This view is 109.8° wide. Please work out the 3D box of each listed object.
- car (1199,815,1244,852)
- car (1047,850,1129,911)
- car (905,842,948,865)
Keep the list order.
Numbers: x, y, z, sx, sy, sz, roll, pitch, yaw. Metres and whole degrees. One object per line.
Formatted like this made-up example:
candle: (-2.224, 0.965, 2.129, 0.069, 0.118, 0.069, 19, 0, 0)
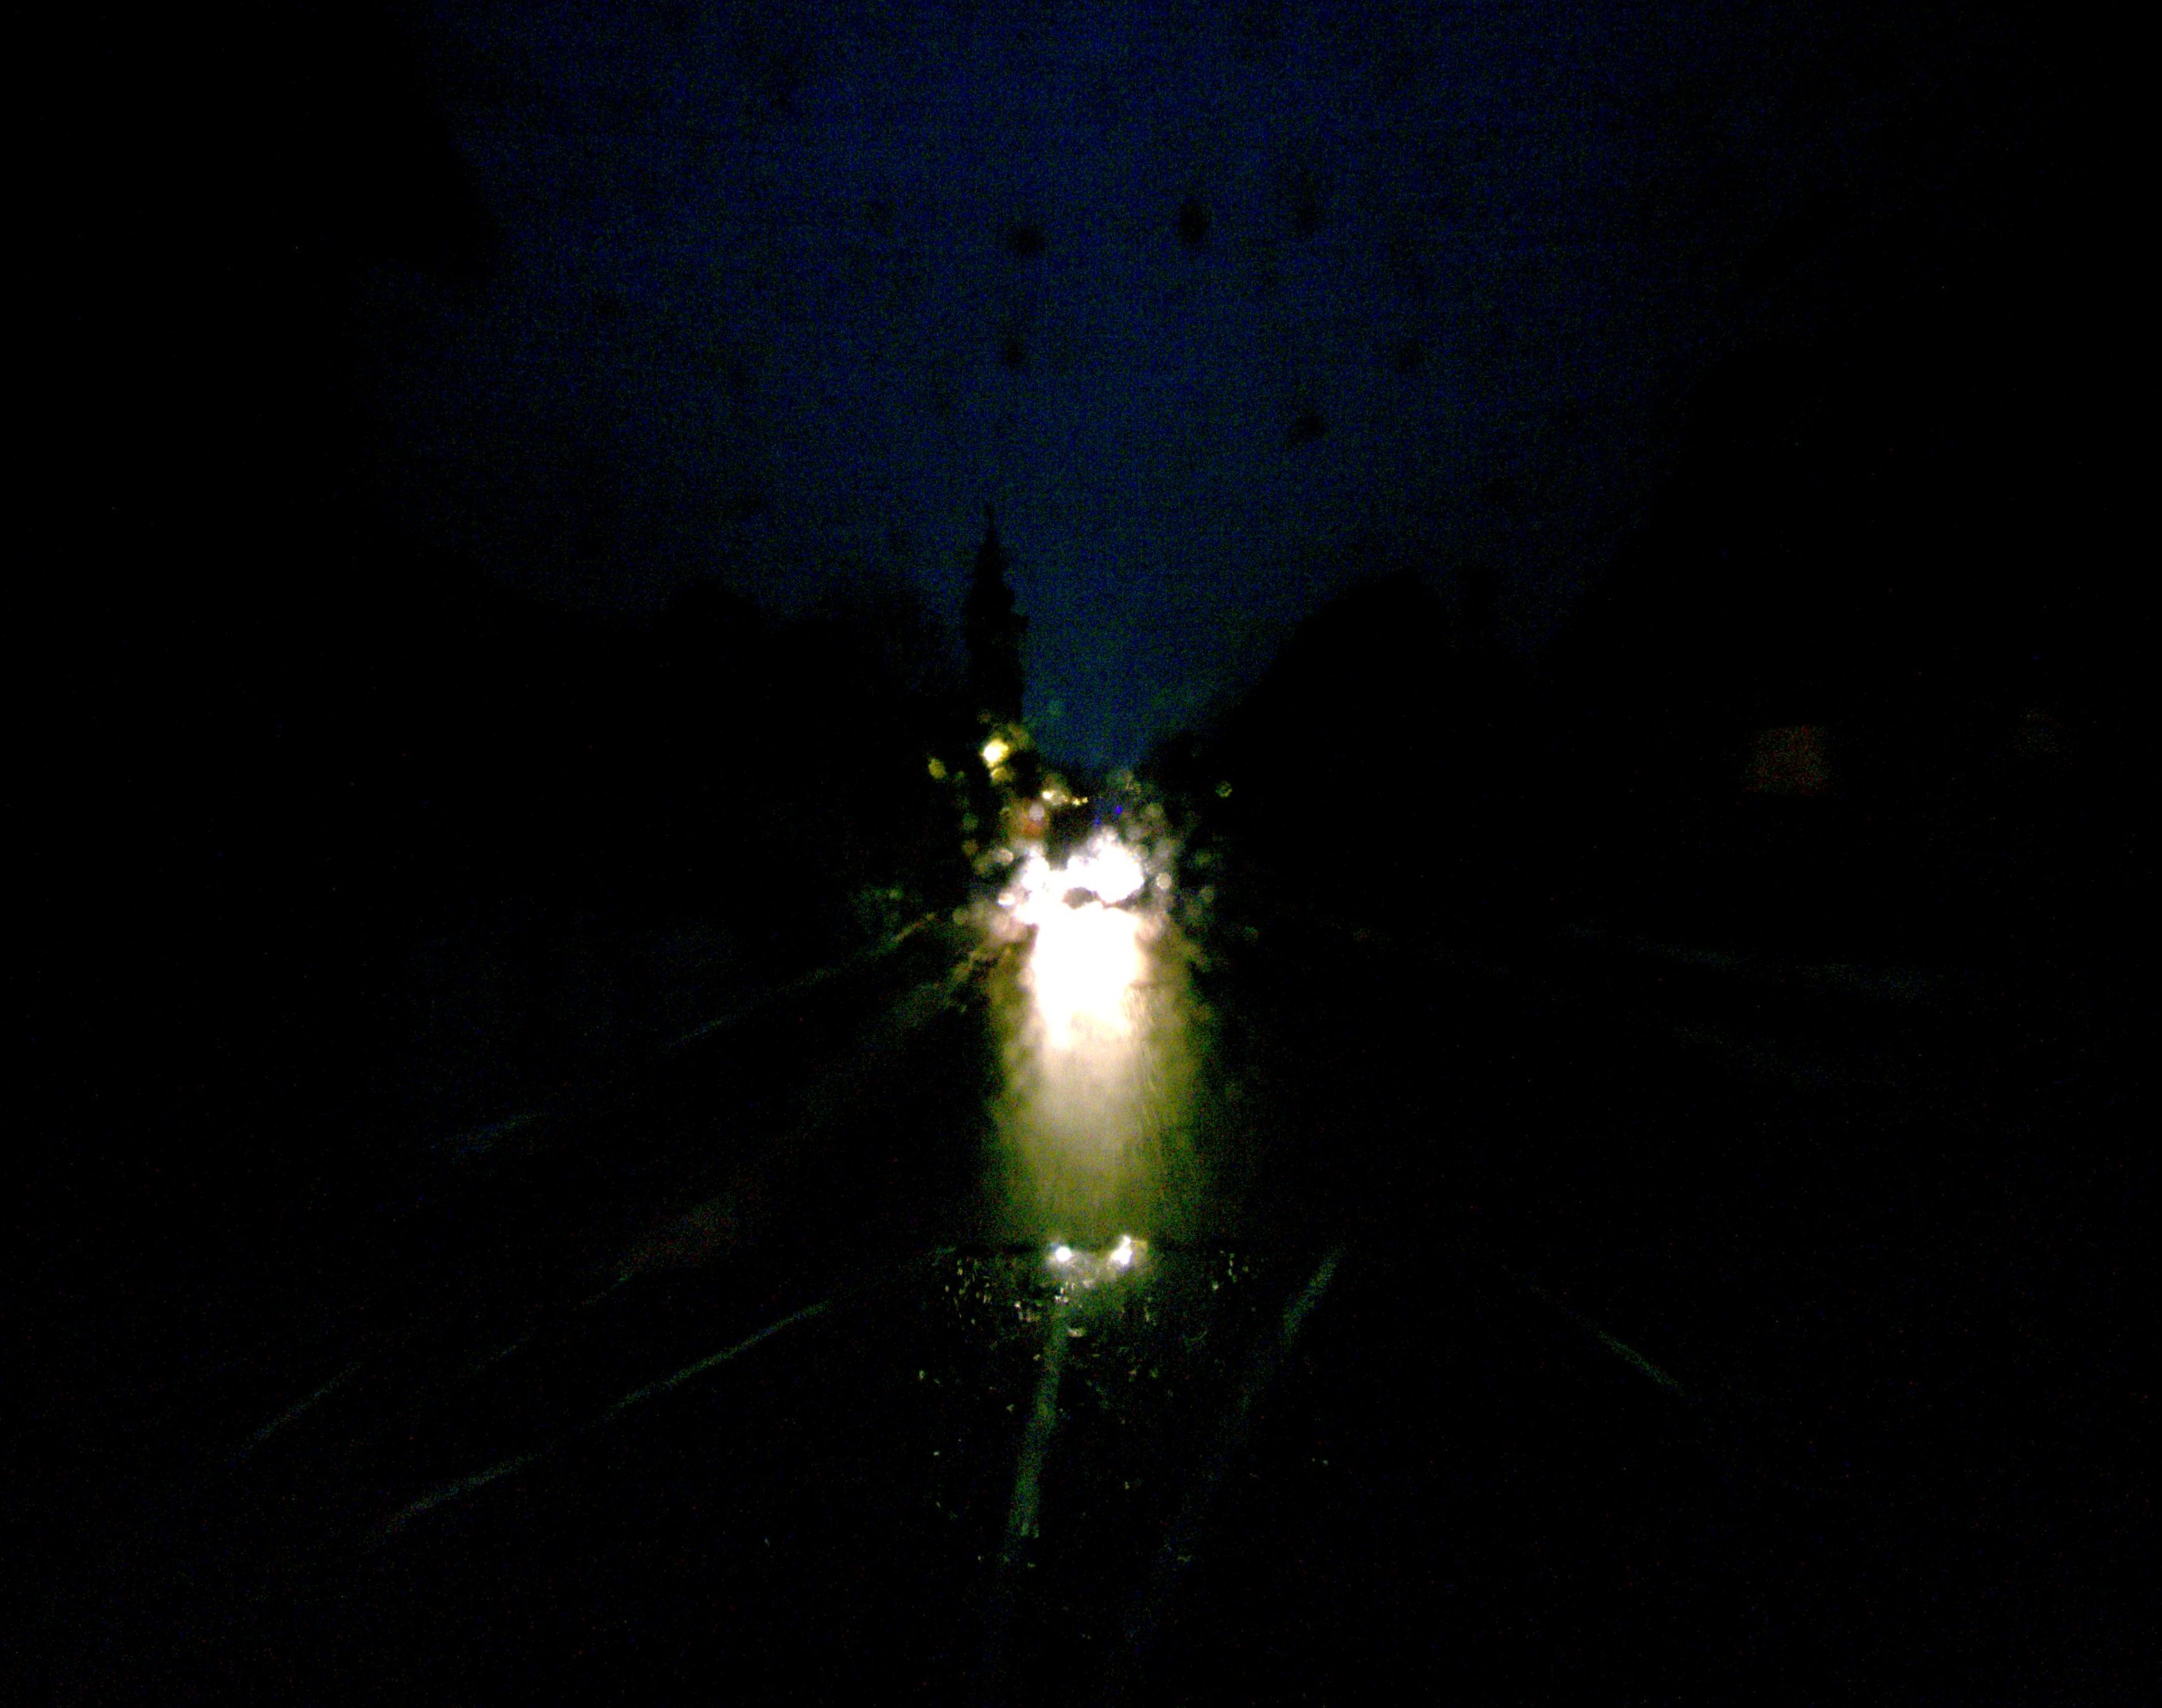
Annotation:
car: (8.850, -1.311, 48.128, 1.998, 2.026, 4.080, -7, 2, 2)
car: (0.091, 0.645, 21.173, 1.999, 1.374, 4.931, -1, 1, -2)
car: (-10.409, -0.026, 51.015, 1.758, 1.405, 4.072, -4, 2, -27)
